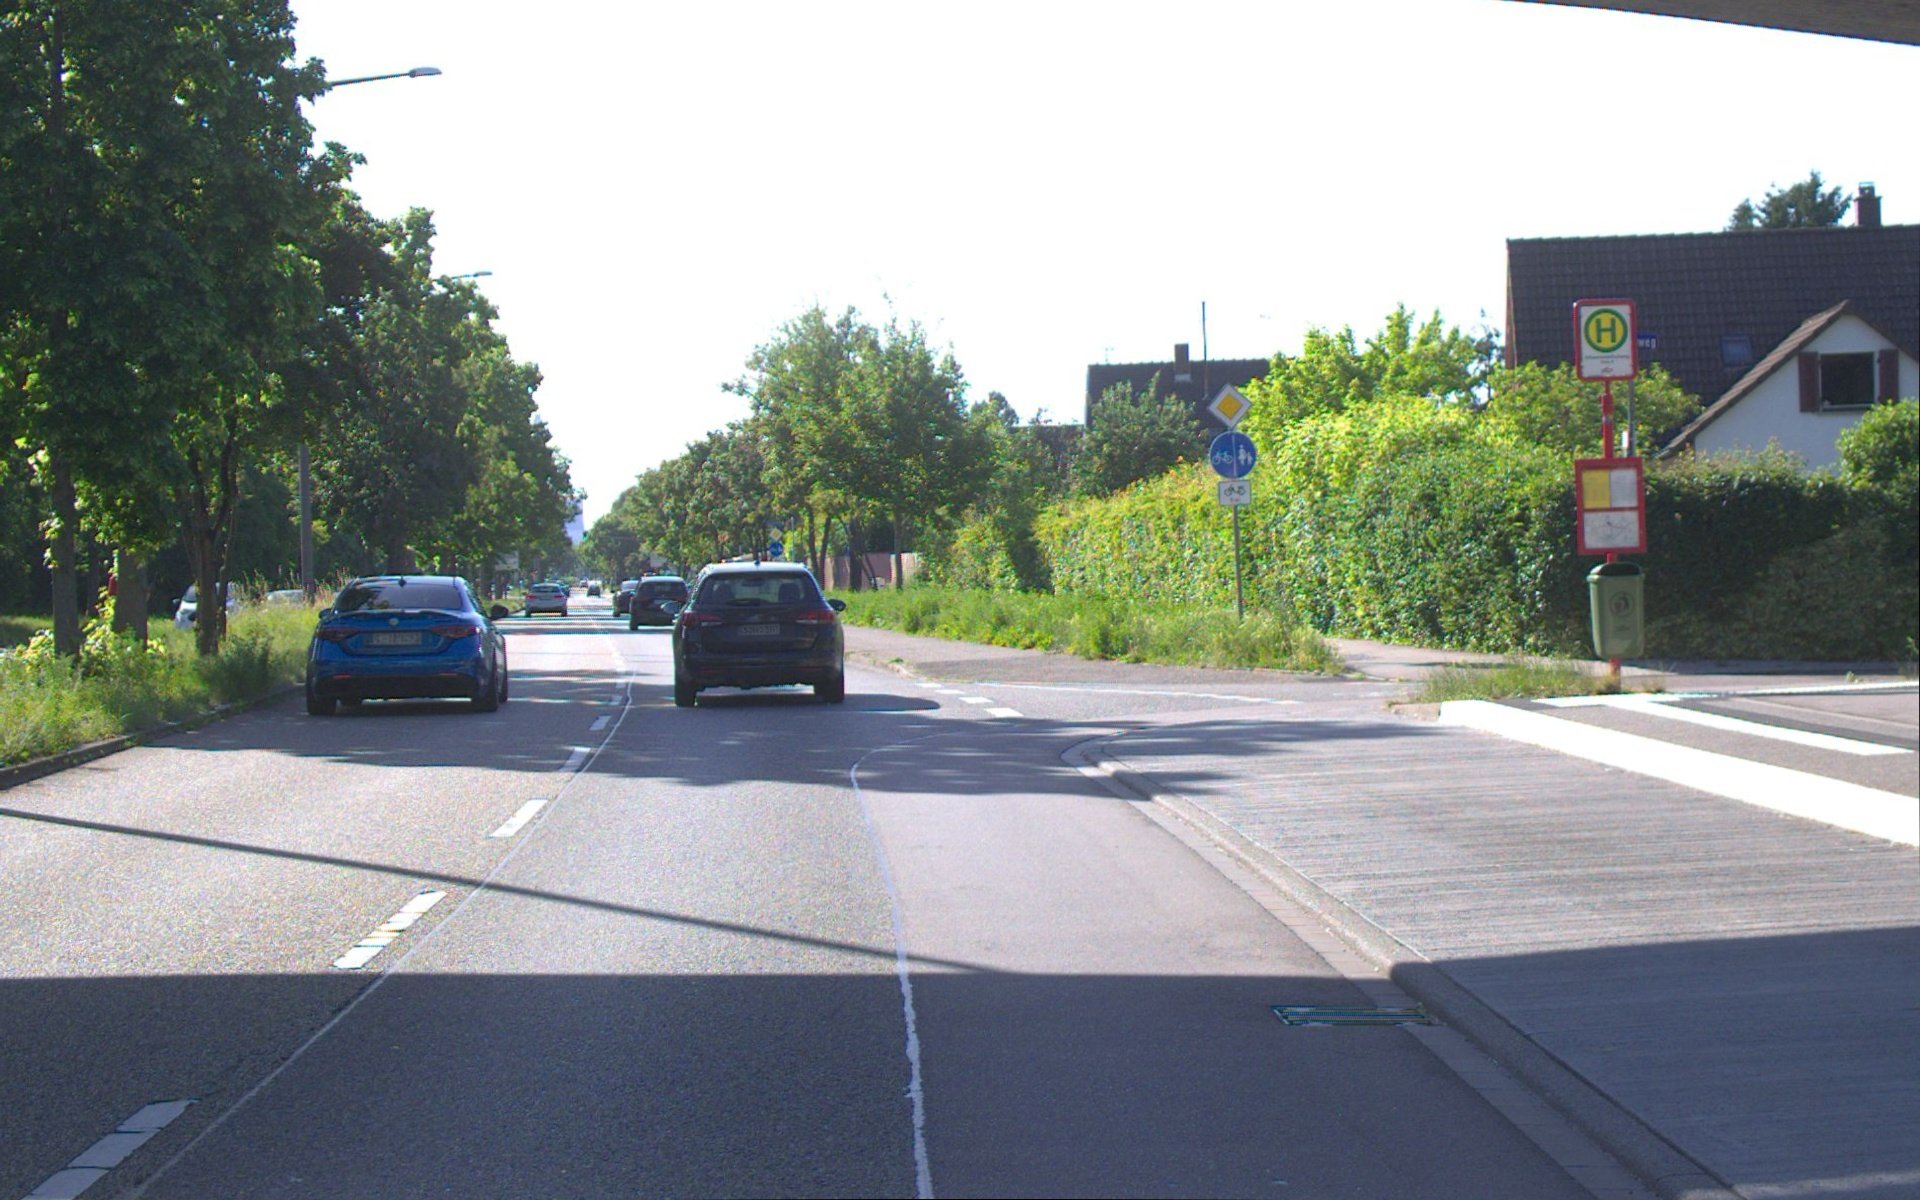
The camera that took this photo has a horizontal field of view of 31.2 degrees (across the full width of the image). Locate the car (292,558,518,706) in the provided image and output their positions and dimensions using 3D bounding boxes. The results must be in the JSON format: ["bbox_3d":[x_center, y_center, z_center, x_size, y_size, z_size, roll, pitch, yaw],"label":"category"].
[{"bbox_3d":[-5.724,0.292,35.882,1.994,1.400,4.001,-1,1,-5],"label":"car"}]

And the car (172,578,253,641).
[{"bbox_3d":[-20.644,0.239,95.085,1.730,1.626,4.199,-2,1,-6],"label":"car"}]

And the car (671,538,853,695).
[{"bbox_3d":[-2.150,0.168,36.501,1.760,1.554,4.001,1,0,-5],"label":"car"}]

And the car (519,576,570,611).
[{"bbox_3d":[-18.293,-0.290,151.101,1.978,1.435,4.001,-1,1,-10],"label":"car"}]

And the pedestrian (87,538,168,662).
[{"bbox_3d":[-11.528,-0.005,47.620,0.631,1.691,0.942,-1,1,24],"label":"pedestrian"}]

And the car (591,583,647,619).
[{"bbox_3d":[-13.693,0.023,137.871,1.898,1.351,4.001,-1,1,-10],"label":"car"}]

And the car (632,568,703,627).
[{"bbox_3d":[-8.293,-0.089,97.359,1.743,1.592,4.176,-1,1,-8],"label":"car"}]
